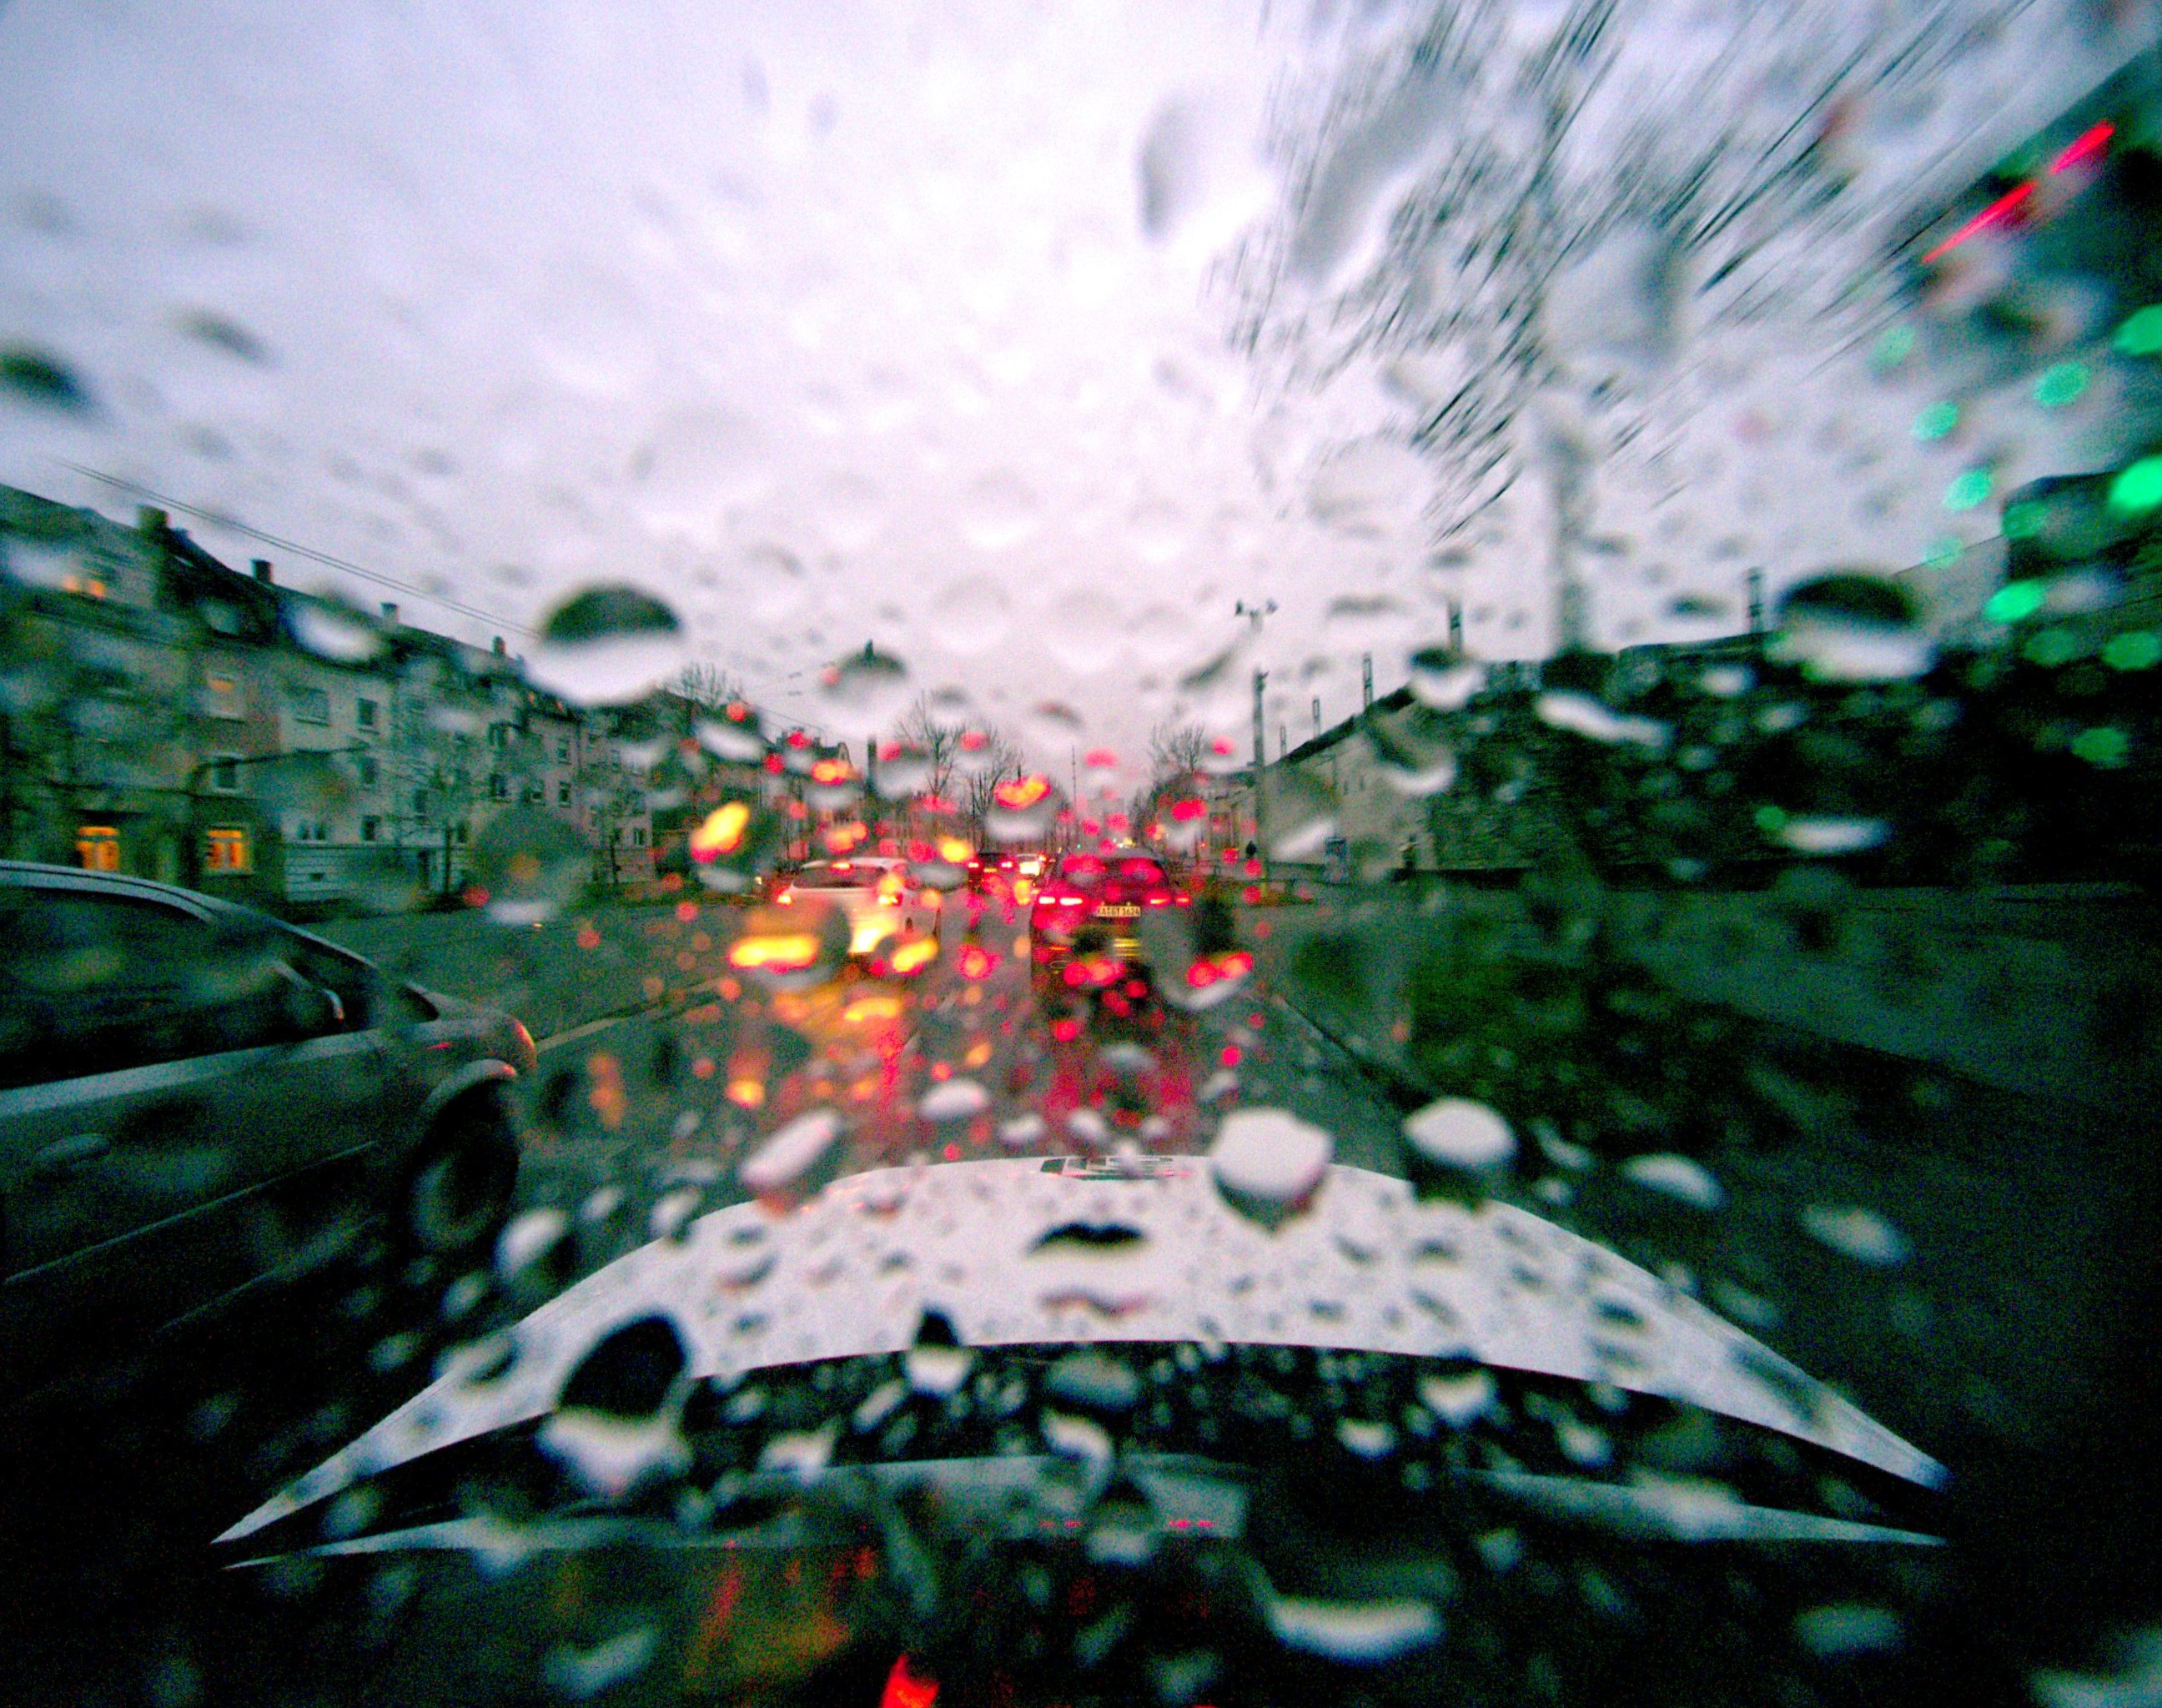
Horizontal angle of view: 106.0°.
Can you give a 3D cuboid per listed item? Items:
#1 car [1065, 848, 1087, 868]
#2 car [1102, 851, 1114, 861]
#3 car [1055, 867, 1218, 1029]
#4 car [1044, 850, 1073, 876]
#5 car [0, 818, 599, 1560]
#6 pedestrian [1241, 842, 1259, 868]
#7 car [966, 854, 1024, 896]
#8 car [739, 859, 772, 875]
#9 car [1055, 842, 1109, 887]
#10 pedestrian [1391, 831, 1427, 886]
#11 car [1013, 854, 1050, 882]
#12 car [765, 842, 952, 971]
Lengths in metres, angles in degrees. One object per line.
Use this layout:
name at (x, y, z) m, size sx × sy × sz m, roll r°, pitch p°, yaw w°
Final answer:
car at (-0.548, 0.443, 87.713) m, size 1.984 × 2.014 × 4.005 m, roll 1°, pitch -1°, yaw 4°
car at (4.715, 0.351, 140.247) m, size 1.985 × 1.729 × 4.003 m, roll -2°, pitch 0°, yaw 2°
car at (0.692, 0.997, 10.389) m, size 1.665 × 1.600 × 4.057 m, roll 0°, pitch 0°, yaw 3°
car at (-1.812, 0.755, 67.249) m, size 1.984 × 2.014 × 4.005 m, roll 1°, pitch -1°, yaw 4°
car at (-3.245, 0.729, 1.981) m, size 1.804 × 1.600 × 4.051 m, roll 0°, pitch 0°, yaw -2°
pedestrian at (10.844, 0.055, 52.339) m, size 0.934 × 1.618 × 0.694 m, roll -2°, pitch 0°, yaw 0°
car at (-3.380, 0.802, 32.789) m, size 1.665 × 1.600 × 4.057 m, roll 0°, pitch 0°, yaw 3°
car at (-32.694, 1.265, 81.854) m, size 1.769 × 1.500 × 3.559 m, roll -2°, pitch 0°, yaw 2°
car at (0.093, 0.433, 34.557) m, size 1.985 × 1.744 × 4.004 m, roll -2°, pitch 0°, yaw 3°
pedestrian at (9.892, 0.137, 24.583) m, size 0.619 × 1.610 × 1.067 m, roll -2°, pitch 0°, yaw -1°
car at (-2.880, 0.792, 48.124) m, size 1.665 × 1.600 × 4.057 m, roll 0°, pitch 0°, yaw 3°
car at (-3.117, 0.658, 12.251) m, size 1.666 × 1.600 × 4.053 m, roll 0°, pitch 0°, yaw 0°
